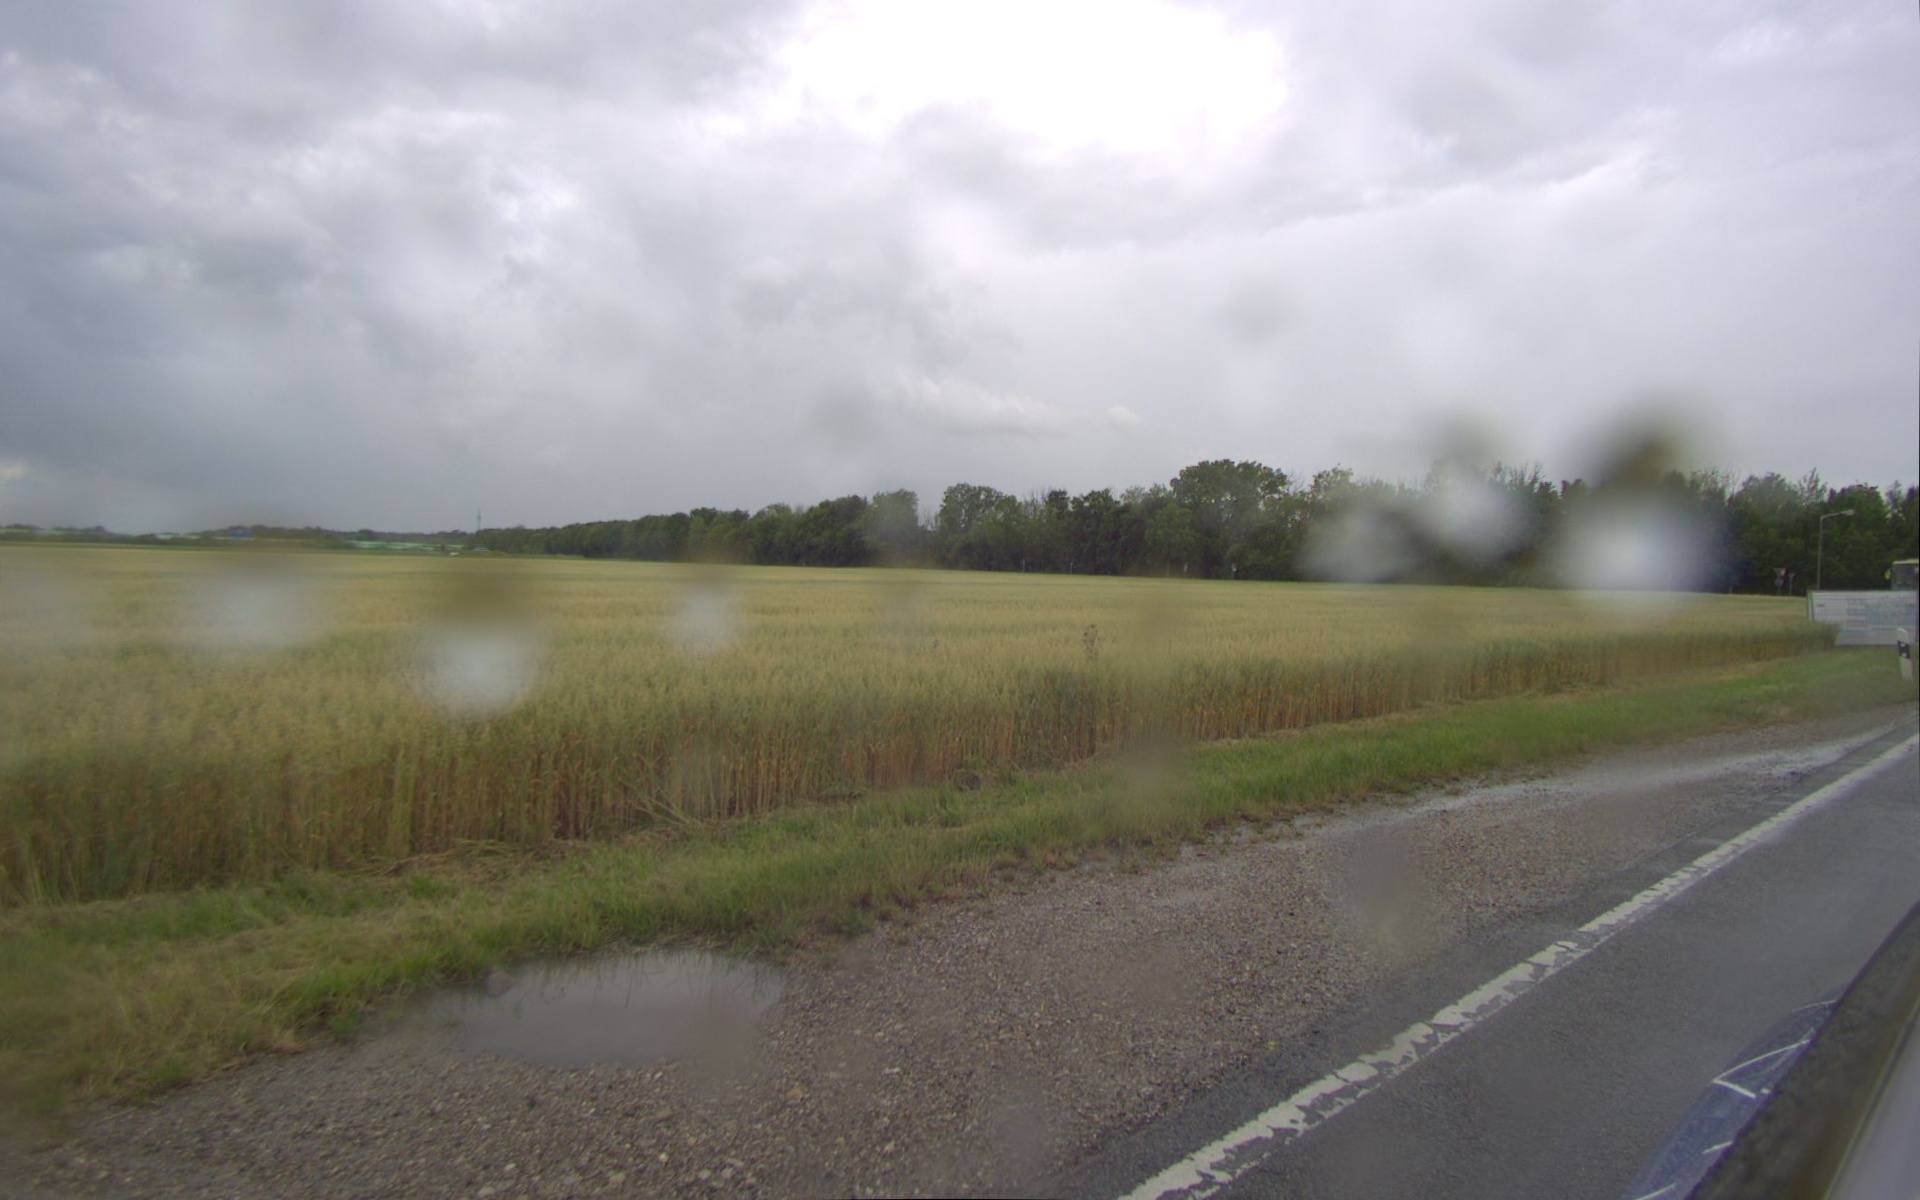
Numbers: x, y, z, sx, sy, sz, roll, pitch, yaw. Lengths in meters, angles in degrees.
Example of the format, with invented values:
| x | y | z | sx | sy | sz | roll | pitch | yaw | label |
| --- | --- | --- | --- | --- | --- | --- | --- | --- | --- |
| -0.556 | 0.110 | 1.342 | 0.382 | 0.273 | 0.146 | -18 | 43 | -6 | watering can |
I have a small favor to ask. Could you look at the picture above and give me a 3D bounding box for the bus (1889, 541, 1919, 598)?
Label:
| x | y | z | sx | sy | sz | roll | pitch | yaw | label |
| --- | --- | --- | --- | --- | --- | --- | --- | --- | --- |
| 68.308 | -2.036 | 70.429 | 14.033 | 3.731 | 2.997 | 0 | 3 | -38 | bus |
